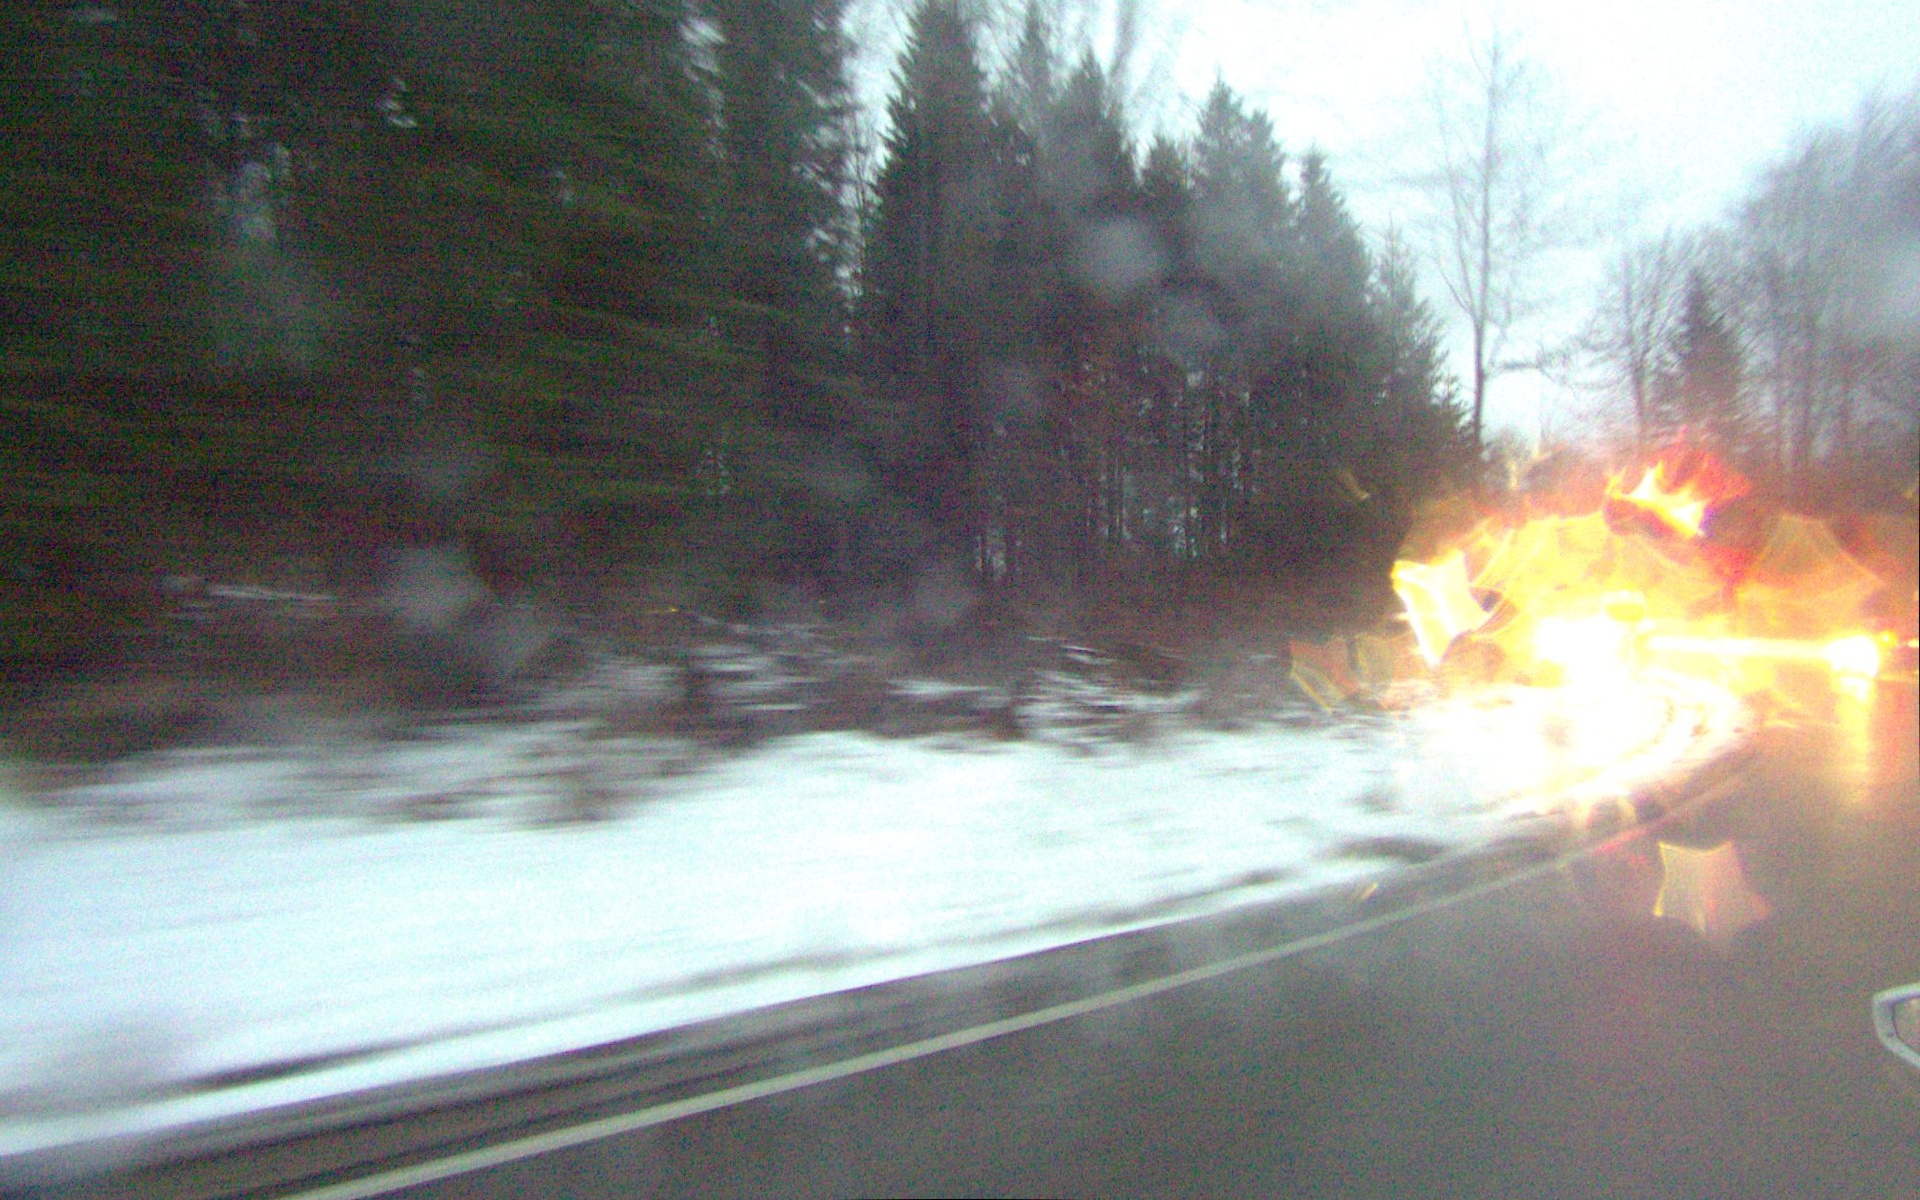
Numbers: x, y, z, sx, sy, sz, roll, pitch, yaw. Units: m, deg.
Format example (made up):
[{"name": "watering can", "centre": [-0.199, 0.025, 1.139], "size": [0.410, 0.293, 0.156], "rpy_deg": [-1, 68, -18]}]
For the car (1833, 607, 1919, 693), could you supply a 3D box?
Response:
[{"name": "car", "centre": [24.156, 1.264, 26.154], "size": [1.970, 2.078, 3.982], "rpy_deg": [-3, -3, 39]}]

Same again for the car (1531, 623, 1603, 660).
[{"name": "car", "centre": [27.263, 1.824, 45.250], "size": [1.745, 1.512, 4.549], "rpy_deg": [-2, -1, 18]}]

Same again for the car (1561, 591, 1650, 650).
[{"name": "car", "centre": [30.966, 0.998, 48.389], "size": [2.214, 2.680, 5.008], "rpy_deg": [-1, -1, 17]}]
